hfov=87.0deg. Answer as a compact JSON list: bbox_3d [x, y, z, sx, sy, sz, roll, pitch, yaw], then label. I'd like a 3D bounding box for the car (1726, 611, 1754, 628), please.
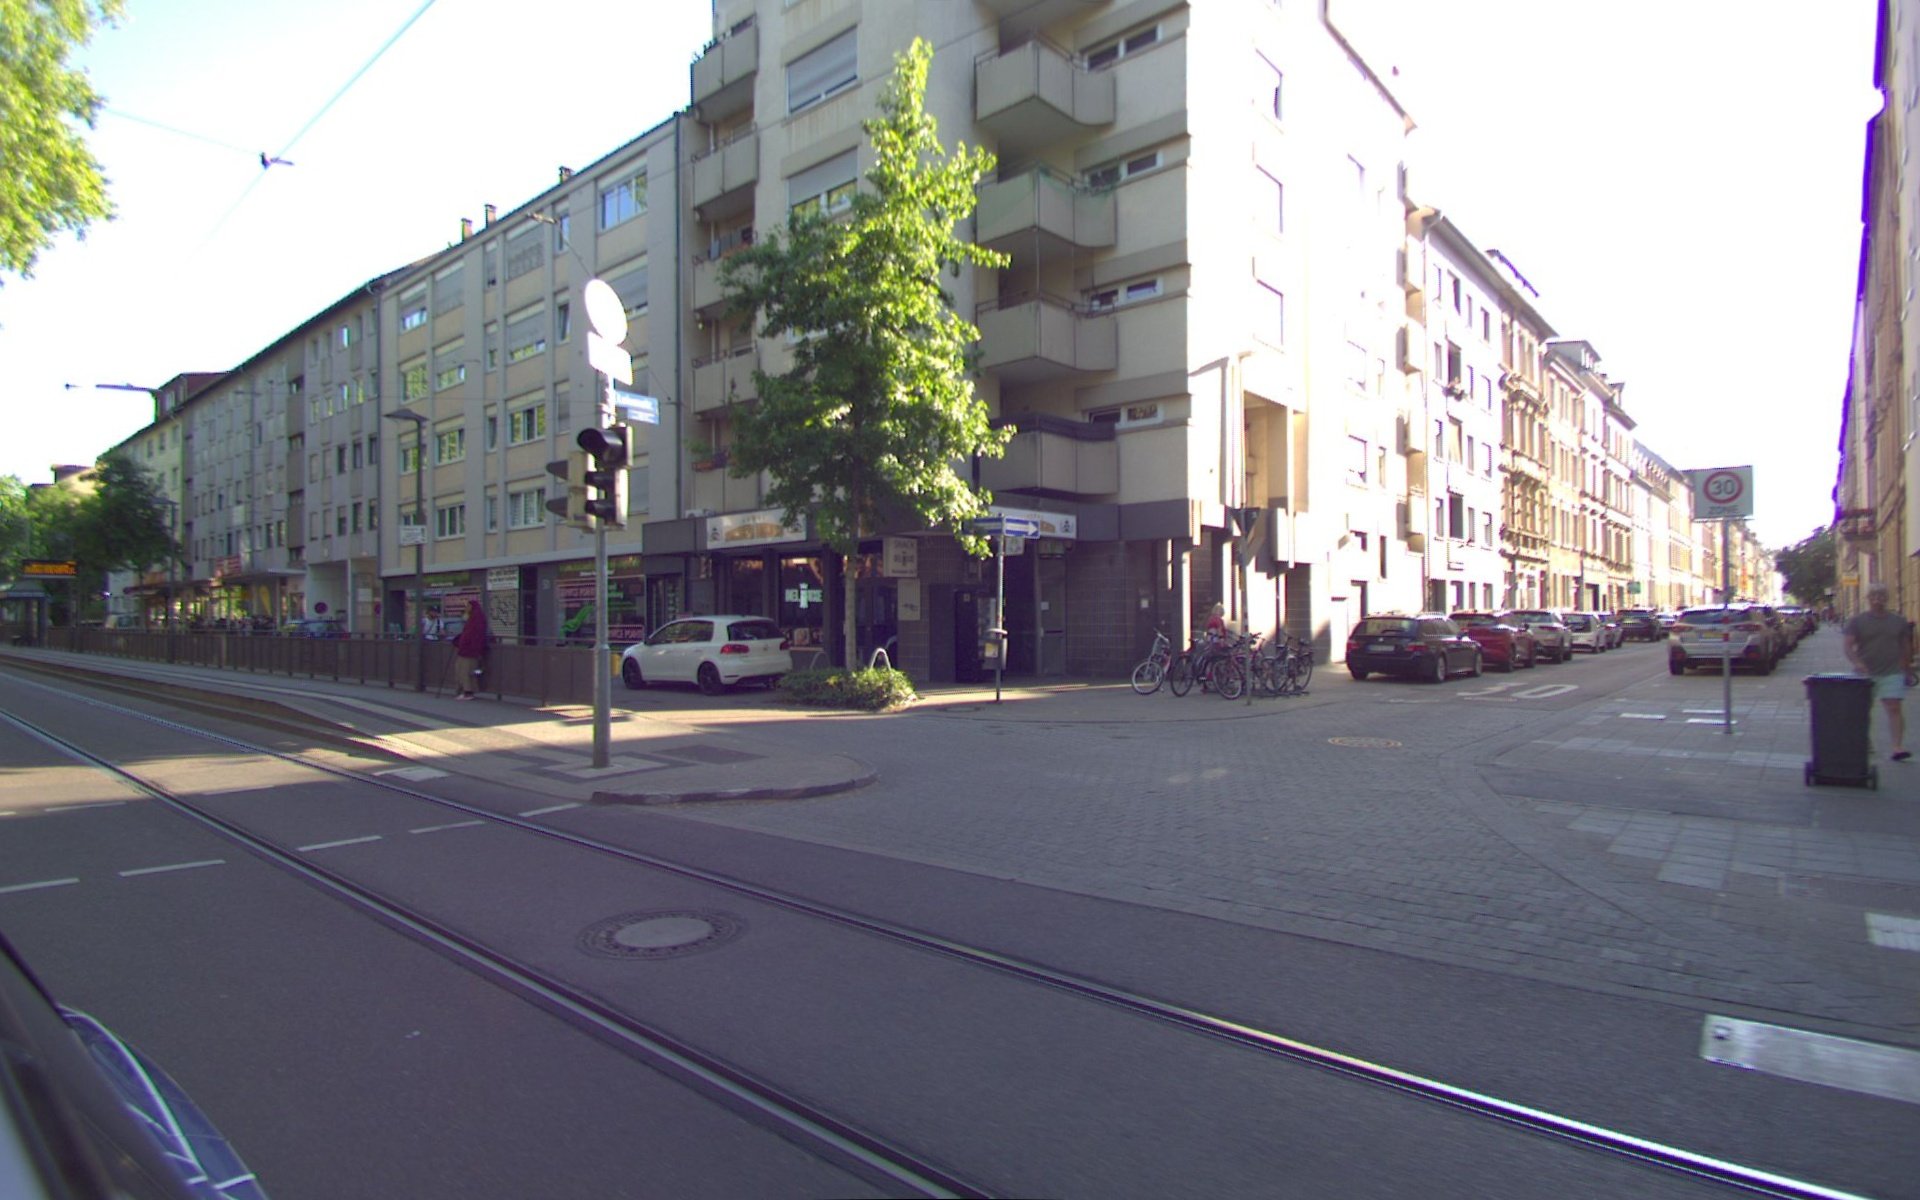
[{"bbox_3d":[73.905,1.847,95.882,1.894,1.515,3.730,-1,-1,41],"label":"car"}]

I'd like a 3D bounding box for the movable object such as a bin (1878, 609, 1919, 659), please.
[{"bbox_3d":[24.725,0.876,26.684,0.710,1.260,2.087,-1,-1,42],"label":"movable object such as a bin"}]

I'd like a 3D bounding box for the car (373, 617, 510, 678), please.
[{"bbox_3d":[-14.466,1.288,28.142,4.387,1.556,1.935,-1,-2,41],"label":"car"}]

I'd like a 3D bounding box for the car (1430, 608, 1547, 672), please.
[{"bbox_3d":[13.625,0.972,26.005,1.804,1.515,3.730,-1,-1,41],"label":"car"}]

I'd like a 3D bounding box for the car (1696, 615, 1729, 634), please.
[{"bbox_3d":[61.814,2.029,83.127,1.894,1.515,3.730,-1,-1,41],"label":"car"}]

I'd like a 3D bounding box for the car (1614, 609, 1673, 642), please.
[{"bbox_3d":[32.938,1.220,48.759,1.894,1.515,3.730,-1,-1,41],"label":"car"}]

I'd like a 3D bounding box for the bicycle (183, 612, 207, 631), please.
[{"bbox_3d":[-46.182,1.296,61.065,2.033,1.165,0.565,-1,-2,36],"label":"bicycle"}]

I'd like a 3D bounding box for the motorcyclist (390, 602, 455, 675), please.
[{"bbox_3d":[-11.121,0.788,20.940,1.015,1.451,0.864,-1,-2,41],"label":"motorcyclist"}]

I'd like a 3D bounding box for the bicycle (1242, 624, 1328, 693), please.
[{"bbox_3d":[5.883,1.031,18.289,1.761,1.165,0.573,1,-2,-38],"label":"bicycle"}]

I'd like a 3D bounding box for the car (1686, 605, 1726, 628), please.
[{"bbox_3d":[50.740,1.139,68.795,1.894,1.515,3.730,-1,-1,41],"label":"car"}]

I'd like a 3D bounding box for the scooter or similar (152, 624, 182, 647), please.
[{"bbox_3d":[-41.276,1.860,52.659,1.259,1.183,0.445,0,-1,5],"label":"scooter or similar"}]

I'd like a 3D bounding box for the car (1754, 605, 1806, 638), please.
[{"bbox_3d":[41.148,1.082,50.753,1.890,1.593,3.945,-1,-1,41],"label":"car"}]

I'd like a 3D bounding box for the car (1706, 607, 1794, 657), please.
[{"bbox_3d":[23.920,0.925,30.604,1.890,1.394,3.945,-1,-1,41],"label":"car"}]

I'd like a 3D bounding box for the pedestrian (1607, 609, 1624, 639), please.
[{"bbox_3d":[34.395,1.268,53.114,0.664,1.568,0.716,-1,-2,37],"label":"pedestrian"}]

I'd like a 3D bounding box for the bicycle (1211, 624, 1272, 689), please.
[{"bbox_3d":[5.307,1.031,19.025,0.570,1.165,1.769,-1,-1,34],"label":"bicycle"}]

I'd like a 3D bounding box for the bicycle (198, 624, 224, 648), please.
[{"bbox_3d":[-36.896,1.763,49.846,1.748,1.165,0.488,-1,-2,36],"label":"bicycle"}]

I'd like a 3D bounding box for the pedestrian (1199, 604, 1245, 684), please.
[{"bbox_3d":[5.225,0.874,20.186,0.717,1.568,0.725,0,-1,2],"label":"pedestrian"}]

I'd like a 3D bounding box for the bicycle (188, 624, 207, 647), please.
[{"bbox_3d":[-39.978,1.848,53.049,1.688,1.165,0.506,-2,-2,44],"label":"bicycle"}]

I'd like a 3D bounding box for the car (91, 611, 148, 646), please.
[{"bbox_3d":[-47.930,1.620,57.714,4.046,1.949,1.785,-1,-2,40],"label":"car"}]

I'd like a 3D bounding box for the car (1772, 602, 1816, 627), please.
[{"bbox_3d":[48.763,0.865,59.144,1.890,1.394,3.945,-1,-1,41],"label":"car"}]

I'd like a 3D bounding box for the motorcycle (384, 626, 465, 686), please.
[{"bbox_3d":[-11.071,1.125,20.906,1.914,1.173,0.840,-1,-2,41],"label":"motorcycle"}]

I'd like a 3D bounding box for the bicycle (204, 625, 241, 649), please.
[{"bbox_3d":[-35.279,1.769,48.423,2.019,1.165,0.556,-1,-2,26],"label":"bicycle"}]

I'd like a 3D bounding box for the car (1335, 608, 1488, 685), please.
[{"bbox_3d":[9.959,0.944,22.160,1.894,1.515,4.235,-1,-1,41],"label":"car"}]

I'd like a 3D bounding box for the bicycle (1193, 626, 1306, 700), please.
[{"bbox_3d":[4.803,1.026,16.799,1.759,1.165,0.574,0,-1,-18],"label":"bicycle"}]

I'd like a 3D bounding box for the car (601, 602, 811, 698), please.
[{"bbox_3d":[-5.128,0.932,20.140,4.355,1.663,1.859,-1,0,40],"label":"car"}]

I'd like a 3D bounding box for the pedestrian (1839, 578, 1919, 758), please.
[{"bbox_3d":[9.107,0.644,9.822,0.767,1.684,0.751,-1,-2,36],"label":"pedestrian"}]

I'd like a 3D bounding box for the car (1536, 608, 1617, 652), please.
[{"bbox_3d":[22.468,1.077,36.846,1.894,1.515,3.730,-1,-1,41],"label":"car"}]

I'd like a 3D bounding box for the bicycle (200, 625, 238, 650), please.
[{"bbox_3d":[-35.159,1.770,47.995,2.019,1.165,0.556,-1,-2,26],"label":"bicycle"}]

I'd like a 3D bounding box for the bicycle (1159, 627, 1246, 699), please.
[{"bbox_3d":[4.199,1.052,17.433,1.837,1.165,0.572,1,-2,-45],"label":"bicycle"}]

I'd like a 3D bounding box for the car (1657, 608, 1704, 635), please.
[{"bbox_3d":[42.306,1.266,59.406,1.894,1.515,3.730,-1,-1,41],"label":"car"}]

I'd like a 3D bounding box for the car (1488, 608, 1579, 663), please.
[{"bbox_3d":[16.886,1.002,29.700,1.891,1.515,3.736,-1,-1,36],"label":"car"}]

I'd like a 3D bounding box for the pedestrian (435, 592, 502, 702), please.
[{"bbox_3d":[-7.344,0.685,15.118,0.772,1.597,0.647,-1,-1,41],"label":"pedestrian"}]

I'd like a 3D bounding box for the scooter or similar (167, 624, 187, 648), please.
[{"bbox_3d":[-40.195,1.838,51.945,1.272,1.183,0.440,-1,-2,36],"label":"scooter or similar"}]

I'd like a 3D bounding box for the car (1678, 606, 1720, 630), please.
[{"bbox_3d":[47.894,1.182,65.567,1.894,1.515,3.730,-1,-1,41],"label":"car"}]

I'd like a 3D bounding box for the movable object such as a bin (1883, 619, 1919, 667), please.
[{"bbox_3d":[21.392,0.962,22.917,0.532,1.065,0.651,1,-2,-39],"label":"movable object such as a bin"}]

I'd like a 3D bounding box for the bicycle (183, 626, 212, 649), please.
[{"bbox_3d":[-38.432,1.884,51.014,2.033,1.165,0.565,-1,-2,36],"label":"bicycle"}]

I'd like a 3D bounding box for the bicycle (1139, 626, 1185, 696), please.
[{"bbox_3d":[3.675,1.070,18.314,0.567,1.165,2.025,-1,-1,19],"label":"bicycle"}]

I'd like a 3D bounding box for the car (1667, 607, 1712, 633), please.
[{"bbox_3d":[45.152,1.223,62.650,1.894,1.515,3.730,-1,-1,41],"label":"car"}]

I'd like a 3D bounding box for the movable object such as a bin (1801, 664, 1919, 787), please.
[{"bbox_3d":[7.404,1.008,8.295,0.646,0.939,0.536,-1,-2,24],"label":"movable object such as a bin"}]

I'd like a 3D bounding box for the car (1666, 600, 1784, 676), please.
[{"bbox_3d":[17.645,0.820,23.281,1.890,1.593,3.945,-1,-1,41],"label":"car"}]

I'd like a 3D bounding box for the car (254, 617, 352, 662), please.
[{"bbox_3d":[-23.037,1.370,35.449,4.280,1.475,1.776,-1,-2,41],"label":"car"}]

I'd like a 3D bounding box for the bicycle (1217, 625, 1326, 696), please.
[{"bbox_3d":[5.339,1.025,17.365,1.759,1.165,0.574,0,-1,-18],"label":"bicycle"}]

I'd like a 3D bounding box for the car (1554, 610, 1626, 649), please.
[{"bbox_3d":[25.703,1.162,41.231,1.894,1.515,3.730,-1,-1,41],"label":"car"}]

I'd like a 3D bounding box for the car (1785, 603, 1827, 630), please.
[{"bbox_3d":[51.780,1.026,61.886,1.890,1.593,3.945,-1,-1,41],"label":"car"}]

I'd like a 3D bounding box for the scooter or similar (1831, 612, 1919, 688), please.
[{"bbox_3d":[15.627,0.842,17.097,1.290,1.269,0.497,0,-1,6],"label":"scooter or similar"}]

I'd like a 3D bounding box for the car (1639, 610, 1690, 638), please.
[{"bbox_3d":[39.065,1.315,56.062,1.894,1.515,3.730,-1,-1,41],"label":"car"}]

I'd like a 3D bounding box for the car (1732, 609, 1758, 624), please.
[{"bbox_3d":[81.873,1.725,105.548,1.894,1.515,3.730,-1,-1,41],"label":"car"}]
